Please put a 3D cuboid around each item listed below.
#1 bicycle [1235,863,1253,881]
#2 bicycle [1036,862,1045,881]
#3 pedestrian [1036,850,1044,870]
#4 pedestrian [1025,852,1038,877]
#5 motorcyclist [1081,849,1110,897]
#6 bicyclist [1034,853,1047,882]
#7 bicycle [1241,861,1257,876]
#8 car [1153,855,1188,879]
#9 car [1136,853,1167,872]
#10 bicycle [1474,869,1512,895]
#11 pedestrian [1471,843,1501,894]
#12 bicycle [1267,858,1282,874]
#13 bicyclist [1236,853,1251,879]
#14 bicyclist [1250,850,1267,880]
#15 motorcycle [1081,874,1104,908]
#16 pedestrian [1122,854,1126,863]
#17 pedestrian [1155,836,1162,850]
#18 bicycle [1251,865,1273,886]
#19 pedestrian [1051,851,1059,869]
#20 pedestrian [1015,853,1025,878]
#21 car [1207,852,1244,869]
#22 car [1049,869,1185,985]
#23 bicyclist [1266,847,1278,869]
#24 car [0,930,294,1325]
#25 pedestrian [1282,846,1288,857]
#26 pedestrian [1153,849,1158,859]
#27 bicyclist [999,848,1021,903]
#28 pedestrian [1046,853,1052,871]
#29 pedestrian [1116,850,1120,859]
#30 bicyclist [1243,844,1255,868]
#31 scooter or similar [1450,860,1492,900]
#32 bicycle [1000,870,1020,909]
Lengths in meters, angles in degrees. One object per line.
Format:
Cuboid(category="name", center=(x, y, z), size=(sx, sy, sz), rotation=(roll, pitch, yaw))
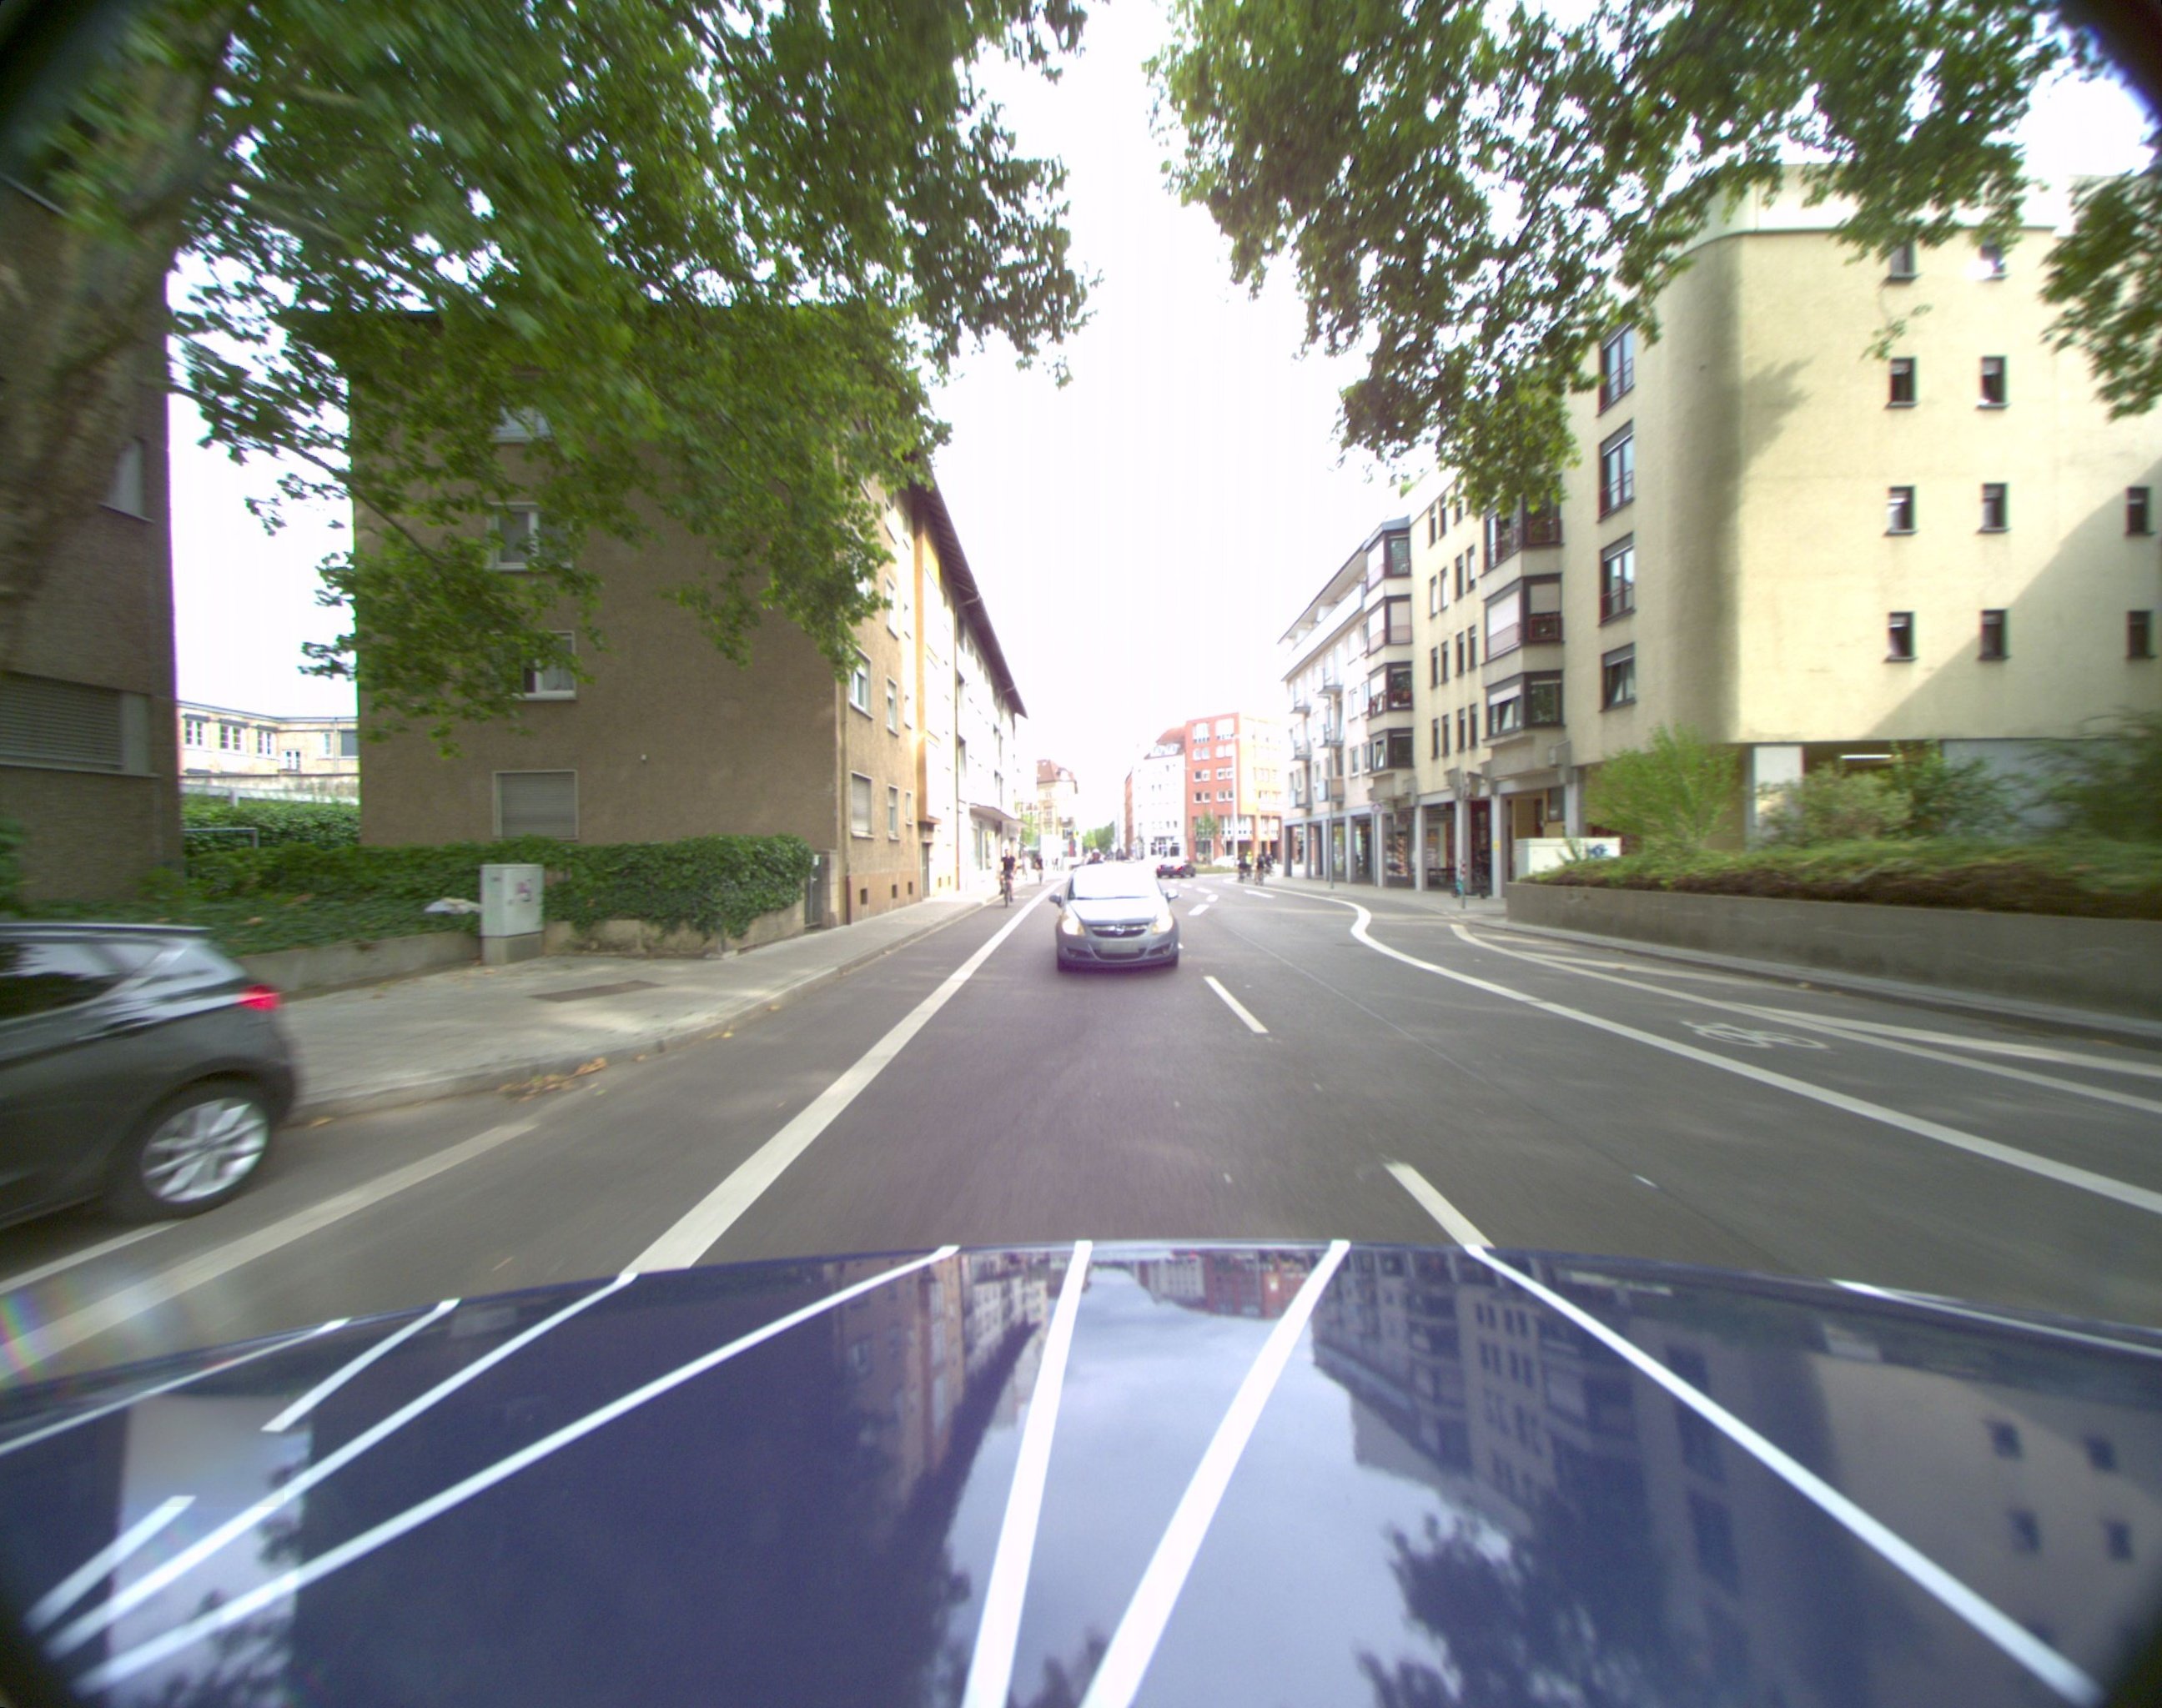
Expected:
Cuboid(category="bicycle", center=(9.550, 1.059, 44.519), size=(0.739, 1.001, 1.977), rotation=(-3, -1, 4))
Cuboid(category="bicycle", center=(-2.250, 0.958, 42.407), size=(0.489, 0.994, 1.747), rotation=(-2, 0, -2))
Cuboid(category="pedestrian", center=(-3.994, 0.546, 73.494), size=(0.673, 1.892, 0.590), rotation=(2, 1, 1))
Cuboid(category="pedestrian", center=(-3.368, 0.715, 51.962), size=(0.753, 1.740, 0.859), rotation=(-1, 1, 0))
Cuboid(category="motorcyclist", center=(0.463, 0.588, 24.284), size=(0.871, 1.508, 1.044), rotation=(-1, 1, 4))
Cuboid(category="bicyclist", center=(-2.259, 0.775, 42.448), size=(0.613, 1.594, 0.847), rotation=(-2, -1, -2))
Cuboid(category="bicycle", center=(11.264, 0.970, 50.897), size=(0.739, 1.001, 2.253), rotation=(-3, -1, 5))
Cuboid(category="car", center=(6.112, 0.934, 52.479), size=(1.815, 1.398, 4.612), rotation=(-1, -5, -1))
Cuboid(category="car", center=(6.389, 0.733, 68.564), size=(1.954, 1.592, 4.005), rotation=(-1, 0, 19))
Cuboid(category="bicycle", center=(13.870, 0.933, 25.615), size=(0.430, 0.816, 1.619), rotation=(-1, 1, 1))
Cuboid(category="pedestrian", center=(14.312, 0.501, 26.847), size=(0.582, 1.747, 0.784), rotation=(-3, 1, 1))
Cuboid(category="bicycle", center=(13.907, 0.866, 54.721), size=(0.739, 1.001, 1.909), rotation=(-1, 2, 5))
Cuboid(category="bicyclist", center=(9.503, 0.694, 44.498), size=(0.658, 1.516, 0.857), rotation=(-3, -1, 5))
Cuboid(category="bicyclist", center=(9.379, 0.594, 40.093), size=(0.658, 1.516, 1.077), rotation=(-3, -1, 5))
Cuboid(category="motorcycle", center=(0.377, 1.134, 23.999), size=(0.570, 0.962, 2.015), rotation=(-1, 0, 6))
Cuboid(category="pedestrian", center=(8.151, 0.876, 143.777), size=(0.540, 1.713, 0.520), rotation=(0, 2, 11))
Cuboid(category="pedestrian", center=(10.064, -1.399, 98.493), size=(0.567, 1.813, 0.697), rotation=(0, 0, 45))
Cuboid(category="bicycle", center=(9.469, 1.115, 39.810), size=(0.739, 1.001, 2.196), rotation=(-3, -1, 4))
Cuboid(category="pedestrian", center=(-2.787, 0.619, 80.431), size=(0.657, 1.842, 0.971), rotation=(2, 1, 4))
Cuboid(category="pedestrian", center=(-4.172, 0.774, 51.868), size=(0.606, 1.659, 0.944), rotation=(-1, 1, -1))
Cuboid(category="car", center=(16.751, 0.762, 88.259), size=(4.007, 1.867, 1.995), rotation=(-2, 1, -37))
Cuboid(category="car", center=(0.547, 0.968, 11.679), size=(1.723, 1.394, 4.001), rotation=(0, 0, 3))
Cuboid(category="bicyclist", center=(13.789, 0.292, 54.874), size=(0.658, 1.517, 1.002), rotation=(-3, 2, 5))
Cuboid(category="car", center=(-4.991, 1.103, 2.065), size=(1.662, 1.413, 3.866), rotation=(-1, 0, 0))
Cuboid(category="pedestrian", center=(30.698, -0.323, 114.074), size=(0.601, 1.677, 0.639), rotation=(-1, 1, -45))
Cuboid(category="pedestrian", center=(11.572, -0.018, 118.010), size=(0.593, 1.502, 0.629), rotation=(-1, 0, -7))
Cuboid(category="bicyclist", center=(-2.259, 0.679, 24.226), size=(0.560, 1.699, 0.862), rotation=(-1, 1, 1))
Cuboid(category="pedestrian", center=(-3.078, 0.762, 73.593), size=(0.473, 1.663, 0.590), rotation=(2, 1, 2))
Cuboid(category="pedestrian", center=(6.962, 0.088, 143.902), size=(0.591, 1.712, 0.520), rotation=(-1, 1, 9))
Cuboid(category="bicyclist", center=(11.202, 0.135, 50.712), size=(0.658, 1.516, 0.841), rotation=(-3, -1, 5))
Cuboid(category="scooter or similar", center=(12.390, 0.816, 24.158), size=(0.287, 1.257, 1.173), rotation=(-1, 1, -36))
Cuboid(category="bicycle", center=(-2.247, 1.113, 24.268), size=(0.407, 1.115, 2.016), rotation=(-3, 1, 0))
